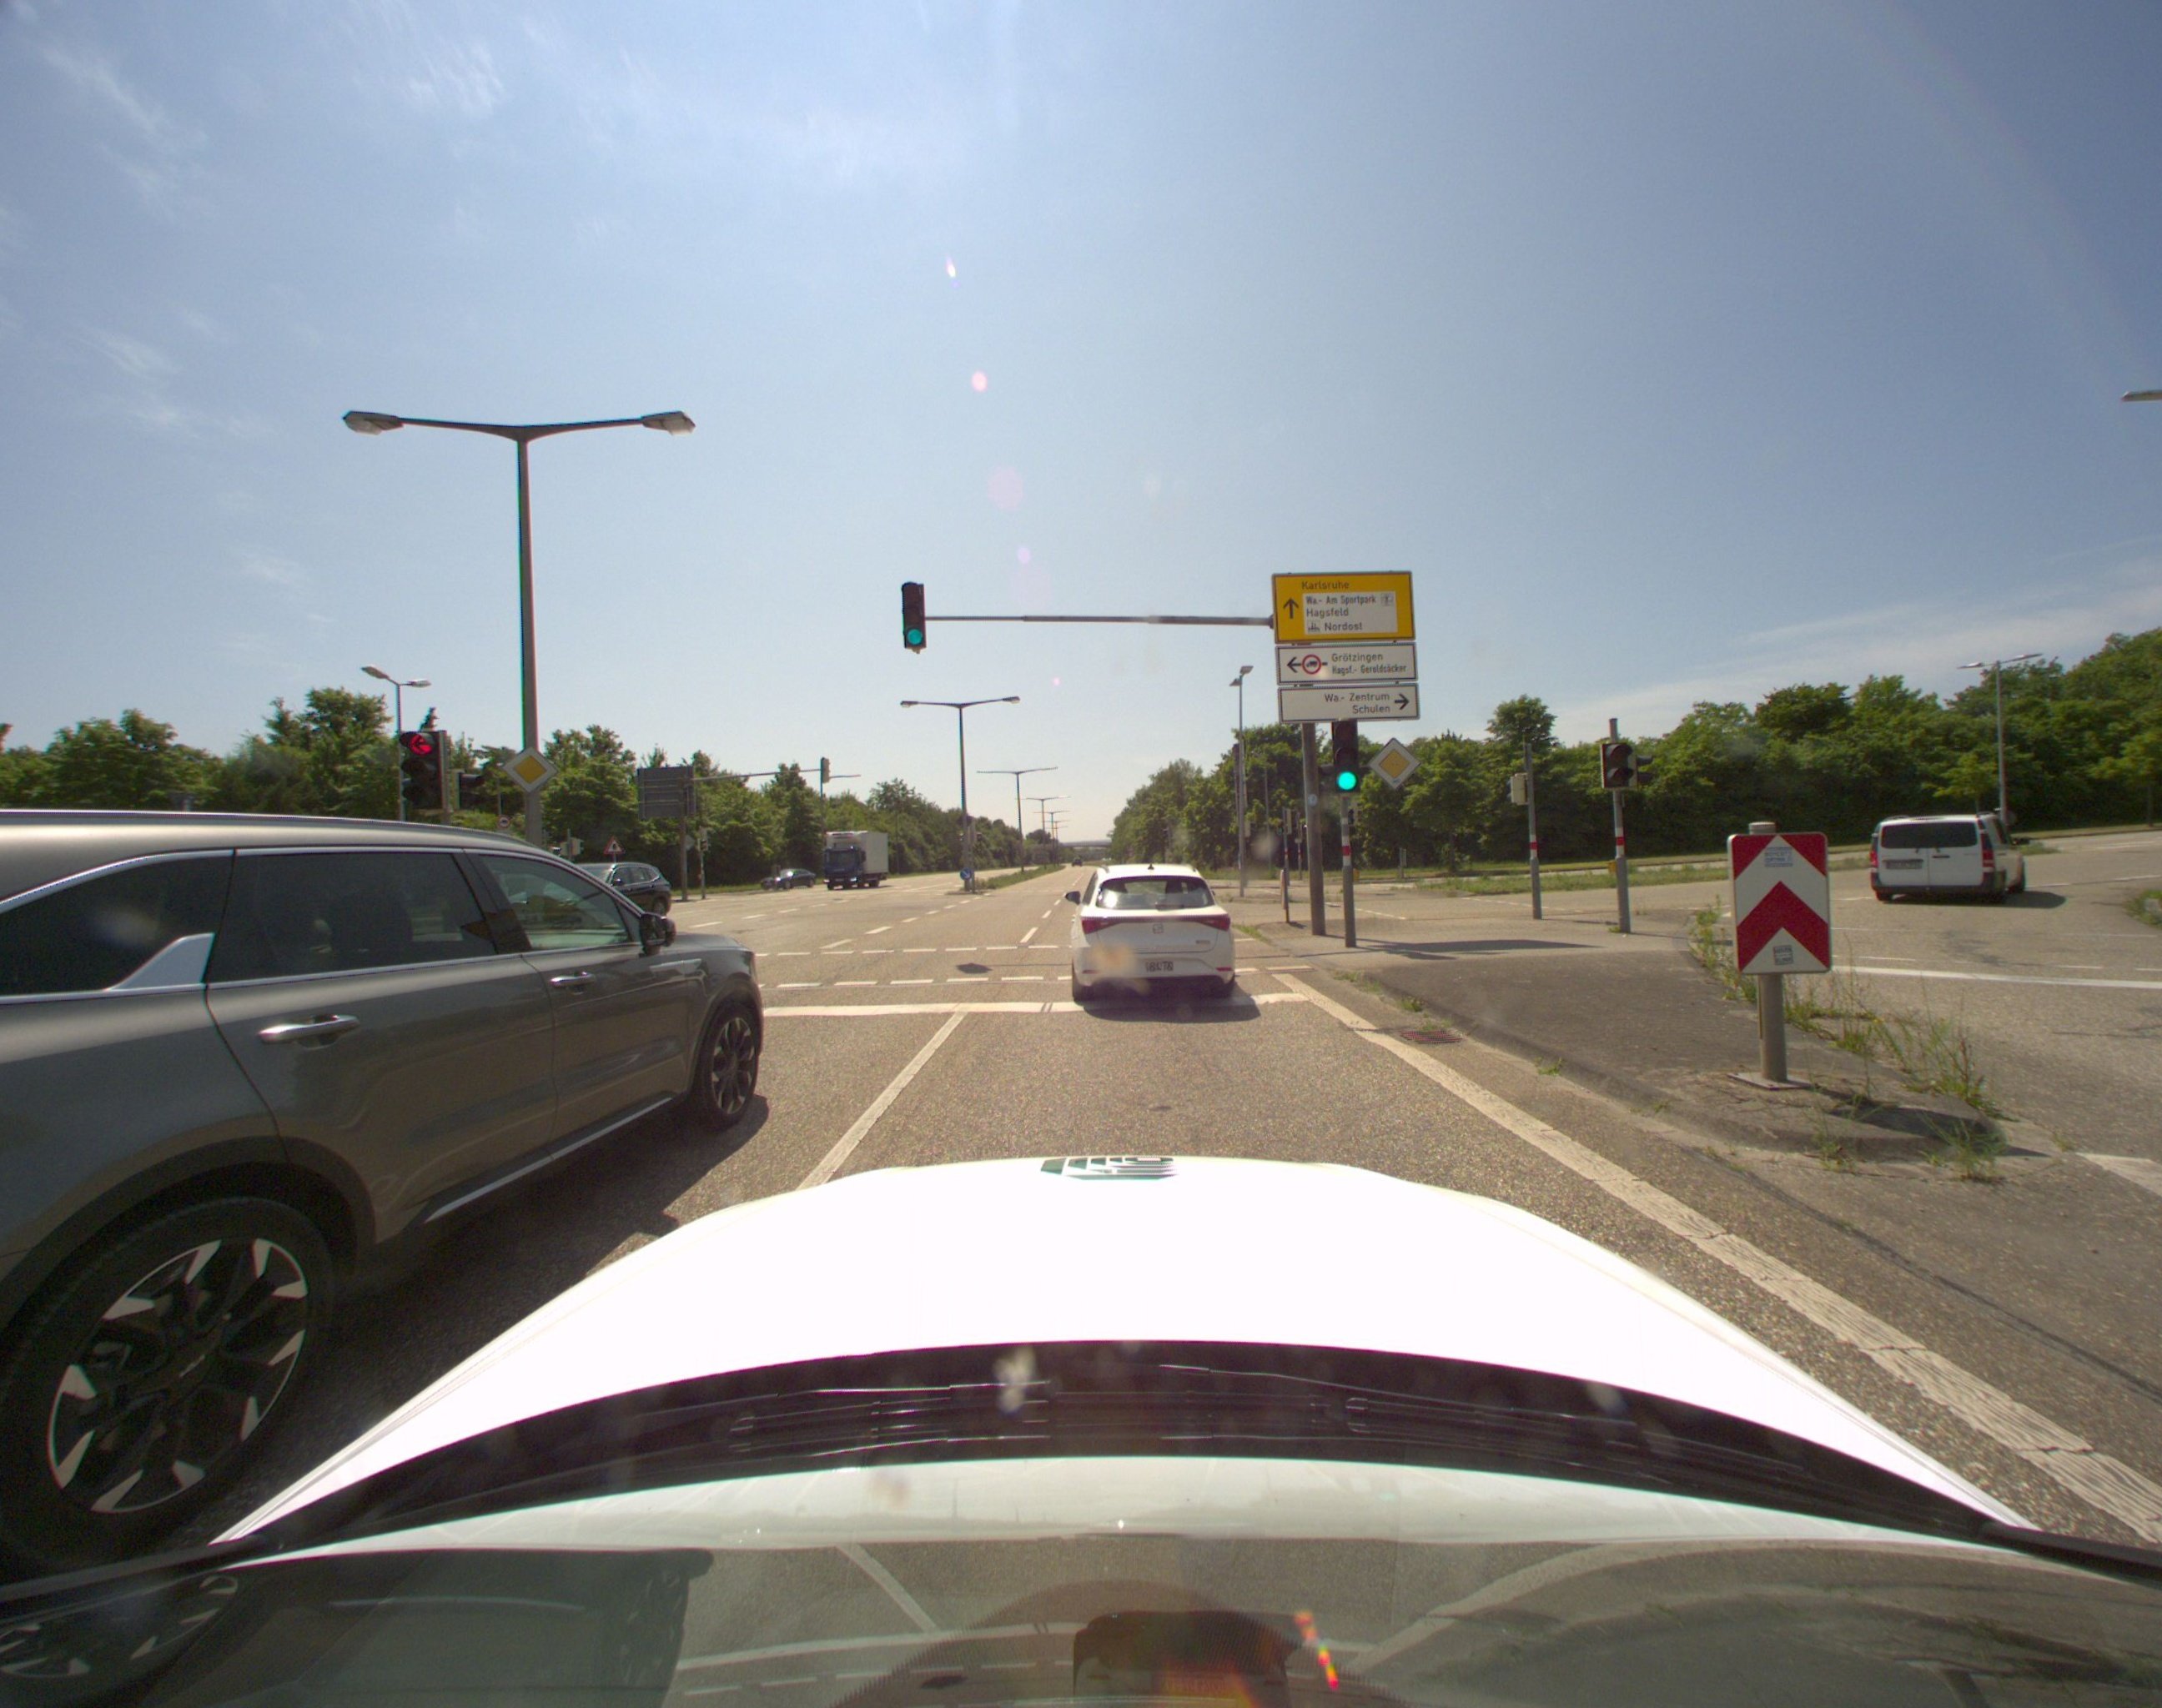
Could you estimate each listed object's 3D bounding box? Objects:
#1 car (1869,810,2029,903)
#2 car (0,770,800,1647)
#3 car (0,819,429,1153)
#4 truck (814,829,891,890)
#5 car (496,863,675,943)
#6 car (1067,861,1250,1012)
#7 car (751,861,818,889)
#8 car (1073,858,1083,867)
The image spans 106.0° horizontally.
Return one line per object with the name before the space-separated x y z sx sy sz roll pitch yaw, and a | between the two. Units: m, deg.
car | 19.394 -0.001 18.128 4.931 1.818 1.845 -2 0 -37
car | -2.920 0.716 3.286 1.797 1.662 4.645 -2 -1 2
car | -6.785 0.752 5.204 1.726 1.826 4.320 -2 0 0
truck | -14.554 0.348 52.392 2.678 3.570 7.268 -2 0 1
car | -12.032 1.106 20.152 1.700 1.663 4.224 -2 0 2
car | 0.794 0.817 9.628 1.728 1.428 3.695 -1 -1 1
car | -20.111 1.394 55.423 1.810 1.732 4.943 -2 0 13
car | -0.633 1.837 178.847 1.848 1.709 4.001 -3 0 1
